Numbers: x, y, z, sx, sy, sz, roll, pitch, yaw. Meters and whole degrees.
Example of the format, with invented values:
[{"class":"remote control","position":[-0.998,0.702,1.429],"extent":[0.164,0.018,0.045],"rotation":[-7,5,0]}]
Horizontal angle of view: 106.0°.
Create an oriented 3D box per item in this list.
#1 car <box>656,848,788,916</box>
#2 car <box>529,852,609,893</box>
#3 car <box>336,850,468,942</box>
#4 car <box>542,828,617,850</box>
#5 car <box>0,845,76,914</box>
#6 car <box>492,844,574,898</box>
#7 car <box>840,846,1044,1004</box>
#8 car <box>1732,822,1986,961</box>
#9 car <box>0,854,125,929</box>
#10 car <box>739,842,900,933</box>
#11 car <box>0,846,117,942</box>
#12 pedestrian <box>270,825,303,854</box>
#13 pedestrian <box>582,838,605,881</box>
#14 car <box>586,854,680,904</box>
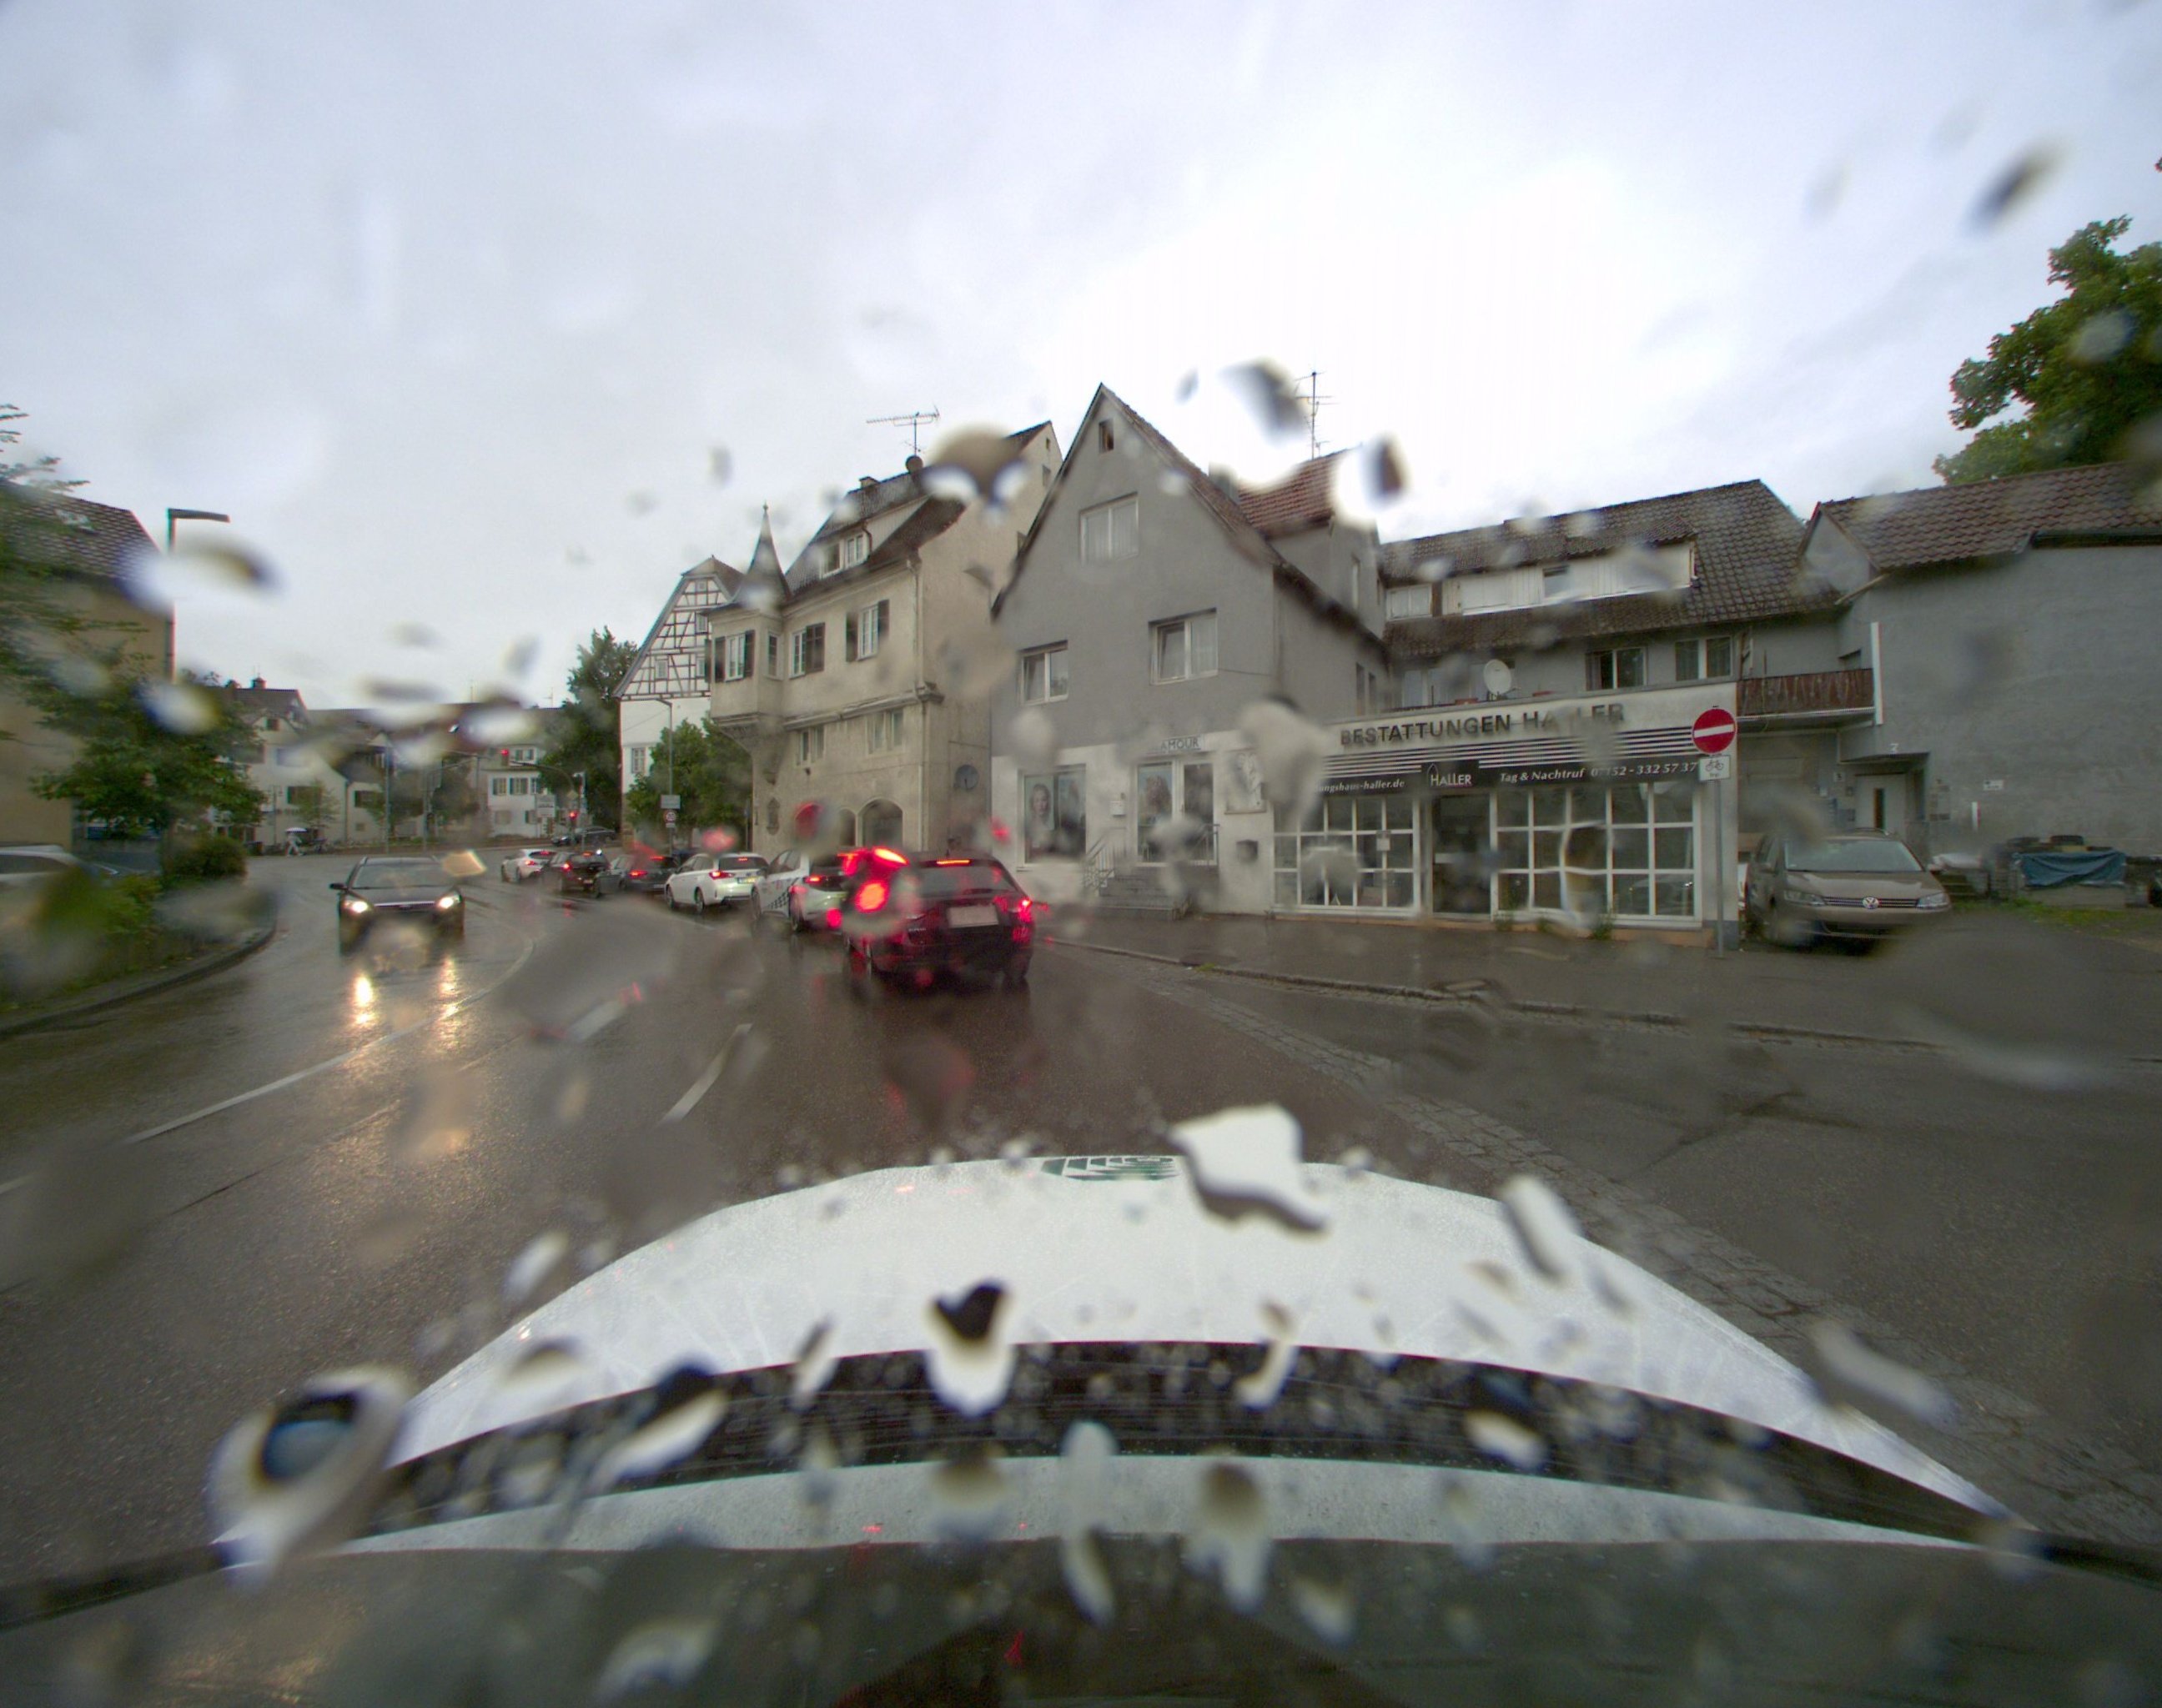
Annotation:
[{"class":"car","position":[-9.149,0.625,20.608],"extent":[1.801,1.465,4.114],"rotation":[-3,2,-42]},{"class":"car","position":[-18.967,0.631,30.098],"extent":[3.579,1.312,1.678],"rotation":[1,3,44]},{"class":"car","position":[-13.309,0.744,16.031],"extent":[1.747,1.510,4.223],"rotation":[-3,1,-40]},{"class":"car","position":[-37.555,-1.110,61.110],"extent":[1.632,1.389,4.555],"rotation":[7,3,23]},{"class":"car","position":[-26.199,0.616,18.707],"extent":[1.692,1.576,3.558],"rotation":[0,1,24]},{"class":"car","position":[-23.508,0.659,34.888],"extent":[3.911,2.090,1.992],"rotation":[1,2,42]},{"class":"car","position":[-1.941,0.662,10.153],"extent":[1.738,1.450,4.212],"rotation":[-2,2,-21]},{"class":"car","position":[11.725,0.404,12.677],"extent":[1.905,1.727,4.698],"rotation":[-1,2,32]},{"class":"car","position":[-22.393,0.774,16.504],"extent":[1.692,1.455,3.558],"rotation":[0,1,24]},{"class":"car","position":[-5.309,0.579,16.173],"extent":[1.803,1.517,4.194],"rotation":[-2,1,-36]},{"class":"car","position":[-20.128,0.722,14.439],"extent":[1.692,1.685,3.558],"rotation":[0,1,24]},{"class":"pedestrian","position":[-49.847,-0.909,51.097],"extent":[1.148,1.742,0.999],"rotation":[-1,0,-17]},{"class":"pedestrian","position":[-26.430,0.298,44.149],"extent":[0.872,2.326,1.216],"rotation":[-1,0,-40]},{"class":"car","position":[-14.150,0.738,25.643],"extent":[3.721,1.361,1.533],"rotation":[1,2,44]}]
